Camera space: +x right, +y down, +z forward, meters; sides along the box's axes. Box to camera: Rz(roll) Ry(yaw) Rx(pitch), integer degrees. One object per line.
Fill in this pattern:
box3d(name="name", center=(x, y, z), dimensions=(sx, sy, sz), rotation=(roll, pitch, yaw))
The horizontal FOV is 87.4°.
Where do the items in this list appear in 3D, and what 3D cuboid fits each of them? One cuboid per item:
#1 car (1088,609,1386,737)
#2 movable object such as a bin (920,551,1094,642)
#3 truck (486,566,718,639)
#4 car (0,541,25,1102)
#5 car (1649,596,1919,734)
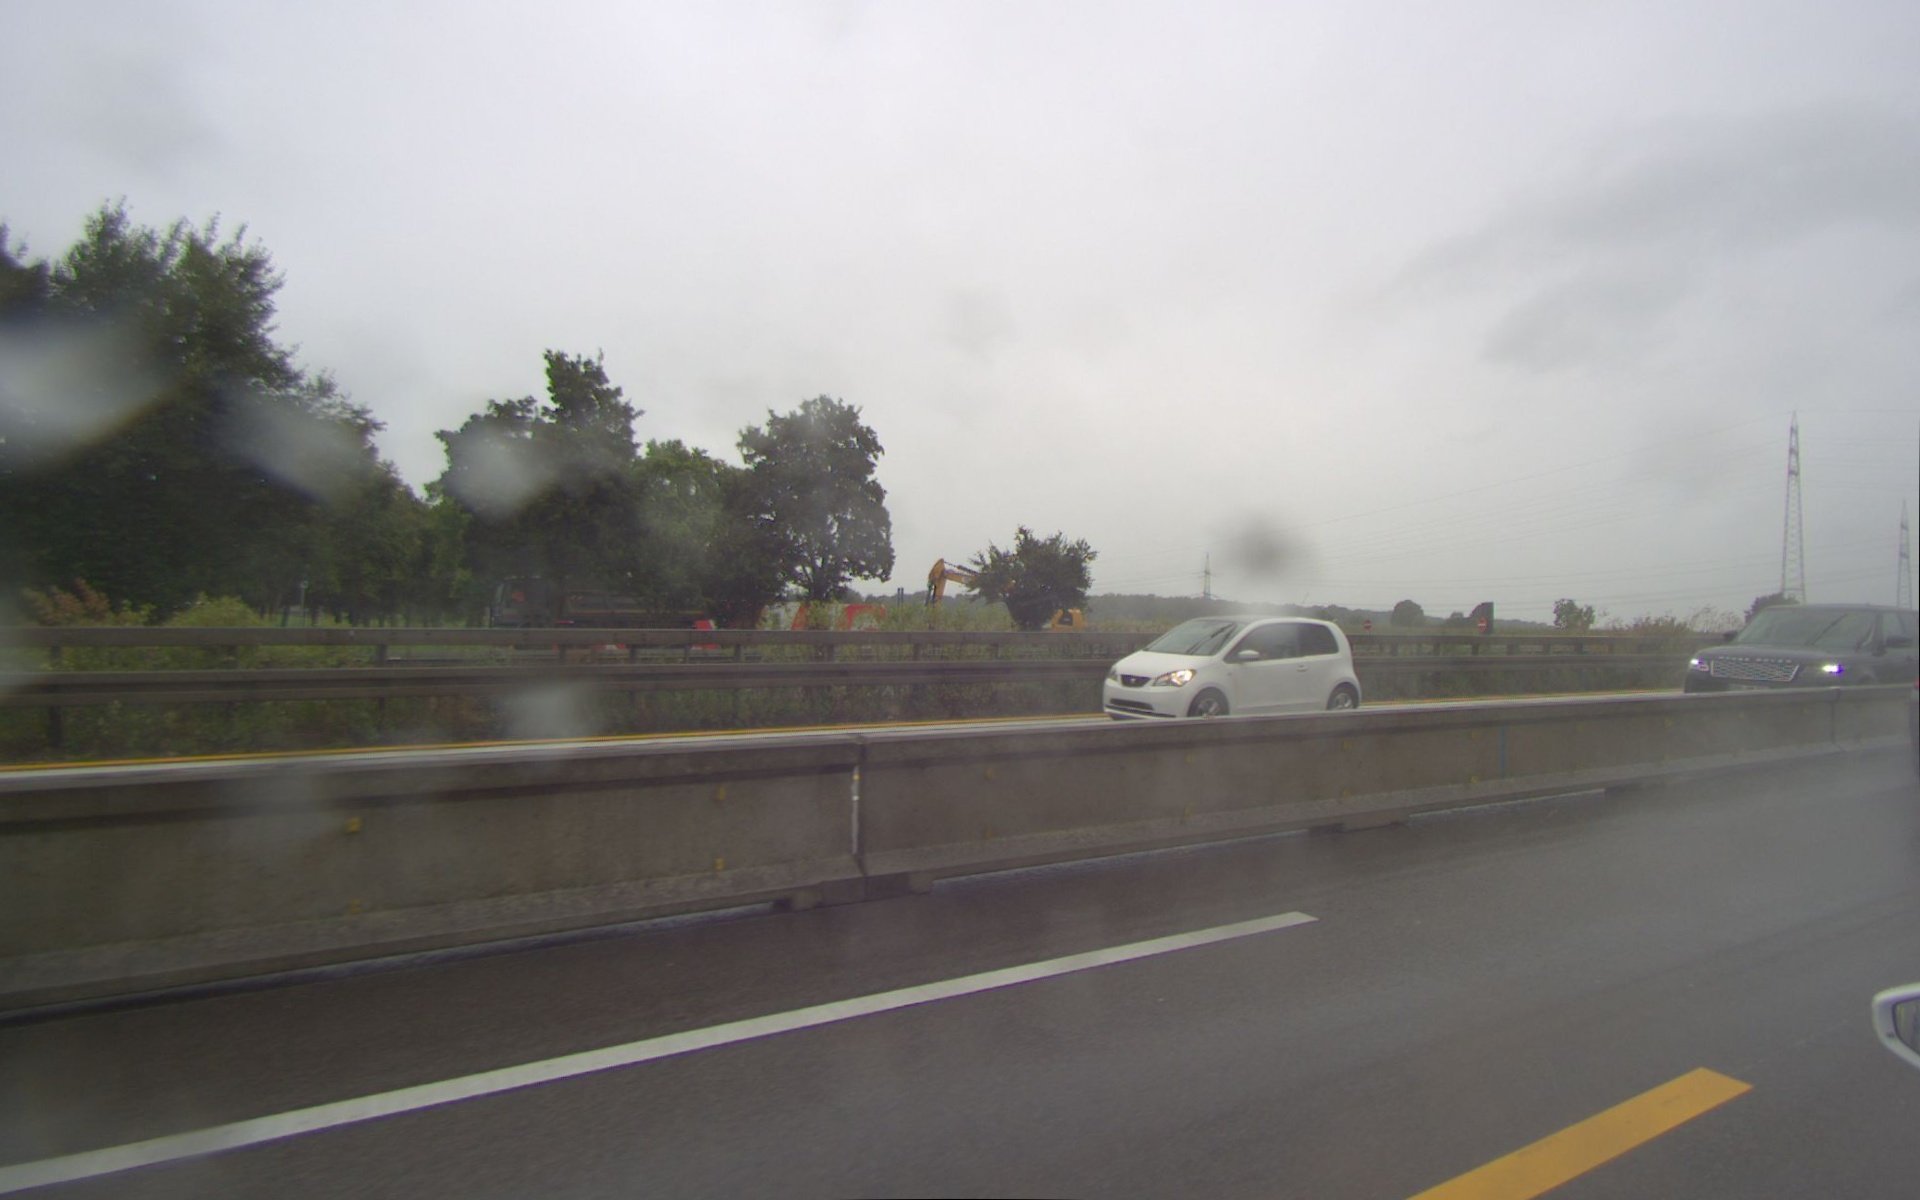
box3d(name="car", center=(3.673, 0.882, 13.143), dimensions=(3.849, 1.455, 1.561), rotation=(2, -1, -31))
box3d(name="movable object such as a bin", center=(2.416, -0.075, 49.683), dimensions=(8.367, 3.971, 2.716), rotation=(3, -1, -31))
box3d(name="truck", center=(-14.802, 0.165, 41.868), dimensions=(8.794, 2.740, 2.504), rotation=(2, 0, -29))
box3d(name="car", center=(-4.211, 0.555, 0.789), dimensions=(4.742, 1.548, 1.928), rotation=(2, -1, -32))
box3d(name="car", center=(12.135, 0.861, 14.481), dimensions=(4.687, 1.709, 1.888), rotation=(2, -1, -31))
